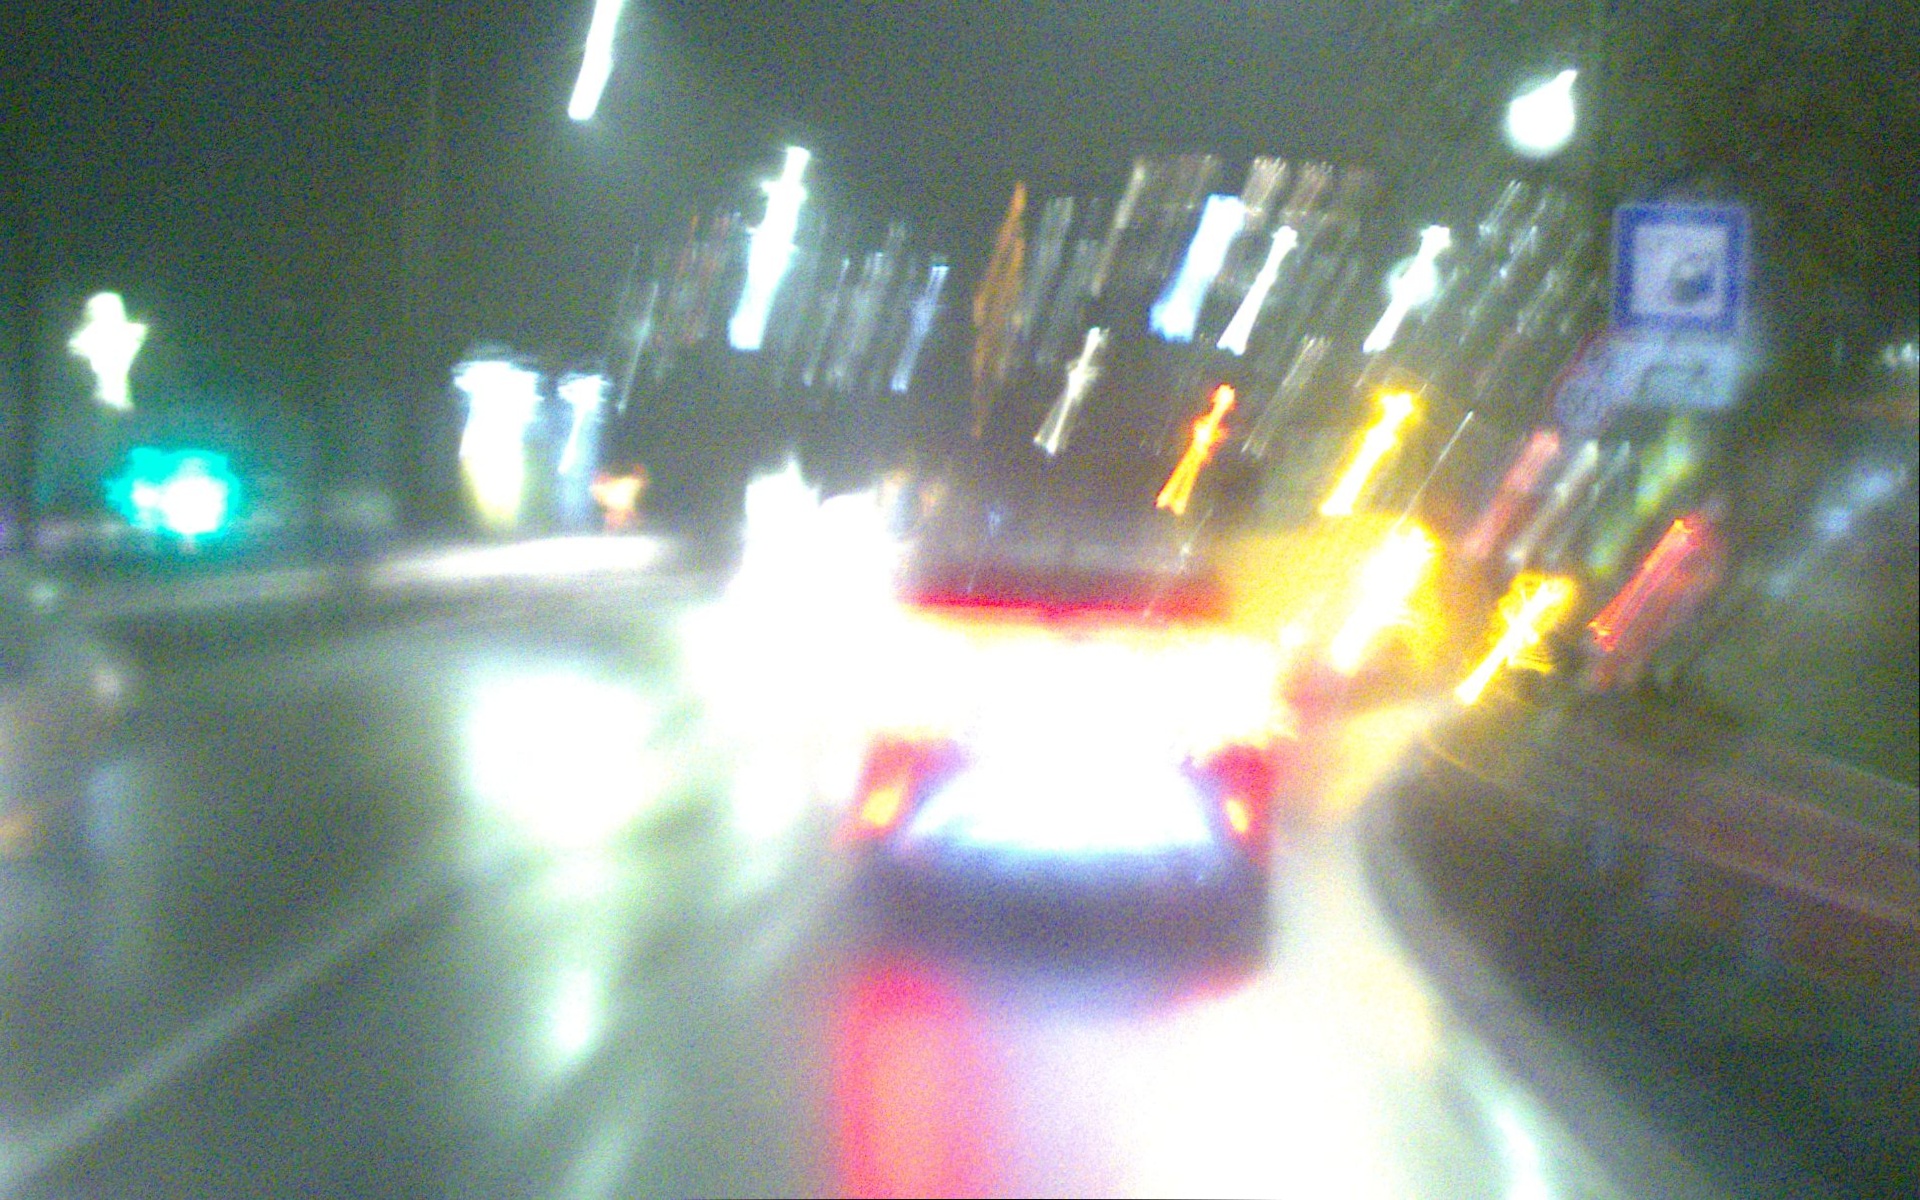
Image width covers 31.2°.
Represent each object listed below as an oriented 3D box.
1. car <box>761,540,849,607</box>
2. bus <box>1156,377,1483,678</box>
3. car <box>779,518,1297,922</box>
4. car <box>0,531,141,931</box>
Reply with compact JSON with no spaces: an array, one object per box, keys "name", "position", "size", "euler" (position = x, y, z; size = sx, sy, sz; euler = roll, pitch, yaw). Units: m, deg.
[{"name":"car","position":[-3.680,-0.645,82.227],"size":[1.826,1.498,4.188],"euler":[2,1,1]},{"name":"bus","position":[4.536,-0.876,41.463],"size":[3.045,3.201,9.046],"euler":[0,1,11]},{"name":"car","position":[0.404,0.413,15.285],"size":[1.994,1.519,4.000],"euler":[0,2,3]},{"name":"car","position":[-4.354,0.450,12.749],"size":[1.823,1.398,4.037],"euler":[2,2,-3]}]
